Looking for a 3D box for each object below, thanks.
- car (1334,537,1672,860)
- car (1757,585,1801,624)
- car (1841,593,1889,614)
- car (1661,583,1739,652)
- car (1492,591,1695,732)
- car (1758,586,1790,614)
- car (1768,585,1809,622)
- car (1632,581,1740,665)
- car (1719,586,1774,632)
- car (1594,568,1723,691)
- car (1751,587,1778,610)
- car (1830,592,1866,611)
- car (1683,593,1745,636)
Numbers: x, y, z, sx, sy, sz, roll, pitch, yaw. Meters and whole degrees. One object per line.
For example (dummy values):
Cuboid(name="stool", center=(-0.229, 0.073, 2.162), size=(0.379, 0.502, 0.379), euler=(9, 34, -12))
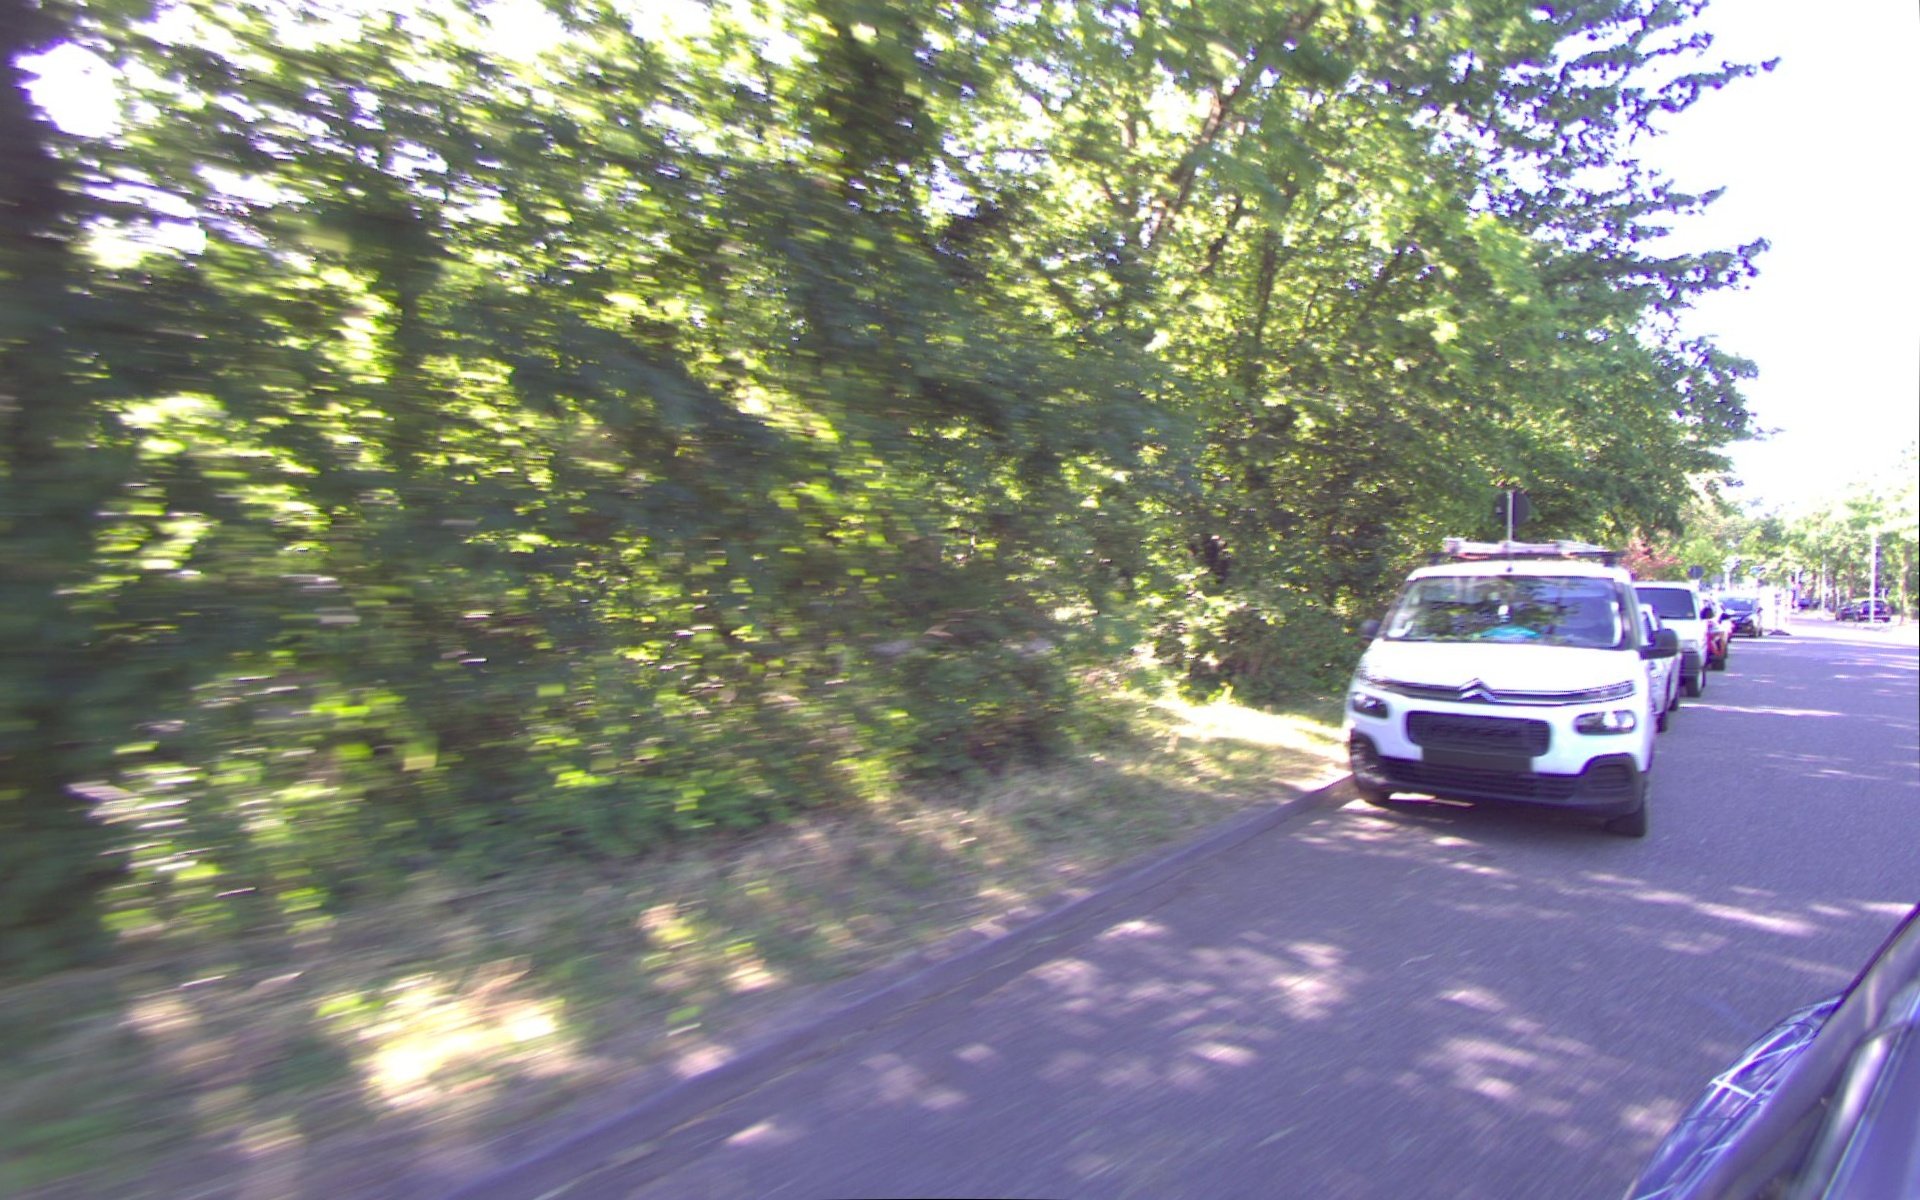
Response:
Cuboid(name="car", center=(4.480, 0.482, 7.934), size=(1.745, 1.771, 4.575), euler=(2, 2, 36))
Cuboid(name="car", center=(37.377, 0.186, 46.175), size=(1.445, 1.674, 3.665), euler=(2, 2, 40))
Cuboid(name="car", center=(68.153, 0.254, 76.291), size=(1.985, 1.384, 3.955), euler=(3, 3, 32))
Cuboid(name="car", center=(19.591, 0.410, 26.743), size=(1.494, 1.659, 3.701), euler=(2, 2, 38))
Cuboid(name="car", center=(8.175, 0.624, 12.867), size=(1.715, 1.462, 4.550), euler=(1, 1, 38))
Cuboid(name="car", center=(52.098, -0.029, 64.753), size=(1.417, 1.674, 3.852), euler=(2, 2, 40))
Cuboid(name="car", center=(40.492, 0.147, 49.453), size=(1.445, 1.674, 3.665), euler=(2, 2, 40))
Cuboid(name="car", center=(16.127, 0.441, 22.417), size=(1.765, 1.659, 3.701), euler=(2, 2, 38))
Cuboid(name="car", center=(30.882, 0.302, 39.702), size=(1.495, 1.674, 4.032), euler=(2, 2, 40))
Cuboid(name="car", center=(11.638, 0.404, 16.768), size=(1.493, 1.776, 3.749), euler=(2, 1, 38))
Cuboid(name="car", center=(59.795, -0.140, 75.213), size=(1.417, 1.674, 3.852), euler=(2, 2, 40))
Cuboid(name="car", center=(80.258, 0.101, 91.546), size=(1.988, 1.603, 3.949), euler=(3, 3, 36))
Cuboid(name="car", center=(26.254, 0.452, 35.207), size=(1.495, 1.376, 3.416), euler=(2, 2, 40))
